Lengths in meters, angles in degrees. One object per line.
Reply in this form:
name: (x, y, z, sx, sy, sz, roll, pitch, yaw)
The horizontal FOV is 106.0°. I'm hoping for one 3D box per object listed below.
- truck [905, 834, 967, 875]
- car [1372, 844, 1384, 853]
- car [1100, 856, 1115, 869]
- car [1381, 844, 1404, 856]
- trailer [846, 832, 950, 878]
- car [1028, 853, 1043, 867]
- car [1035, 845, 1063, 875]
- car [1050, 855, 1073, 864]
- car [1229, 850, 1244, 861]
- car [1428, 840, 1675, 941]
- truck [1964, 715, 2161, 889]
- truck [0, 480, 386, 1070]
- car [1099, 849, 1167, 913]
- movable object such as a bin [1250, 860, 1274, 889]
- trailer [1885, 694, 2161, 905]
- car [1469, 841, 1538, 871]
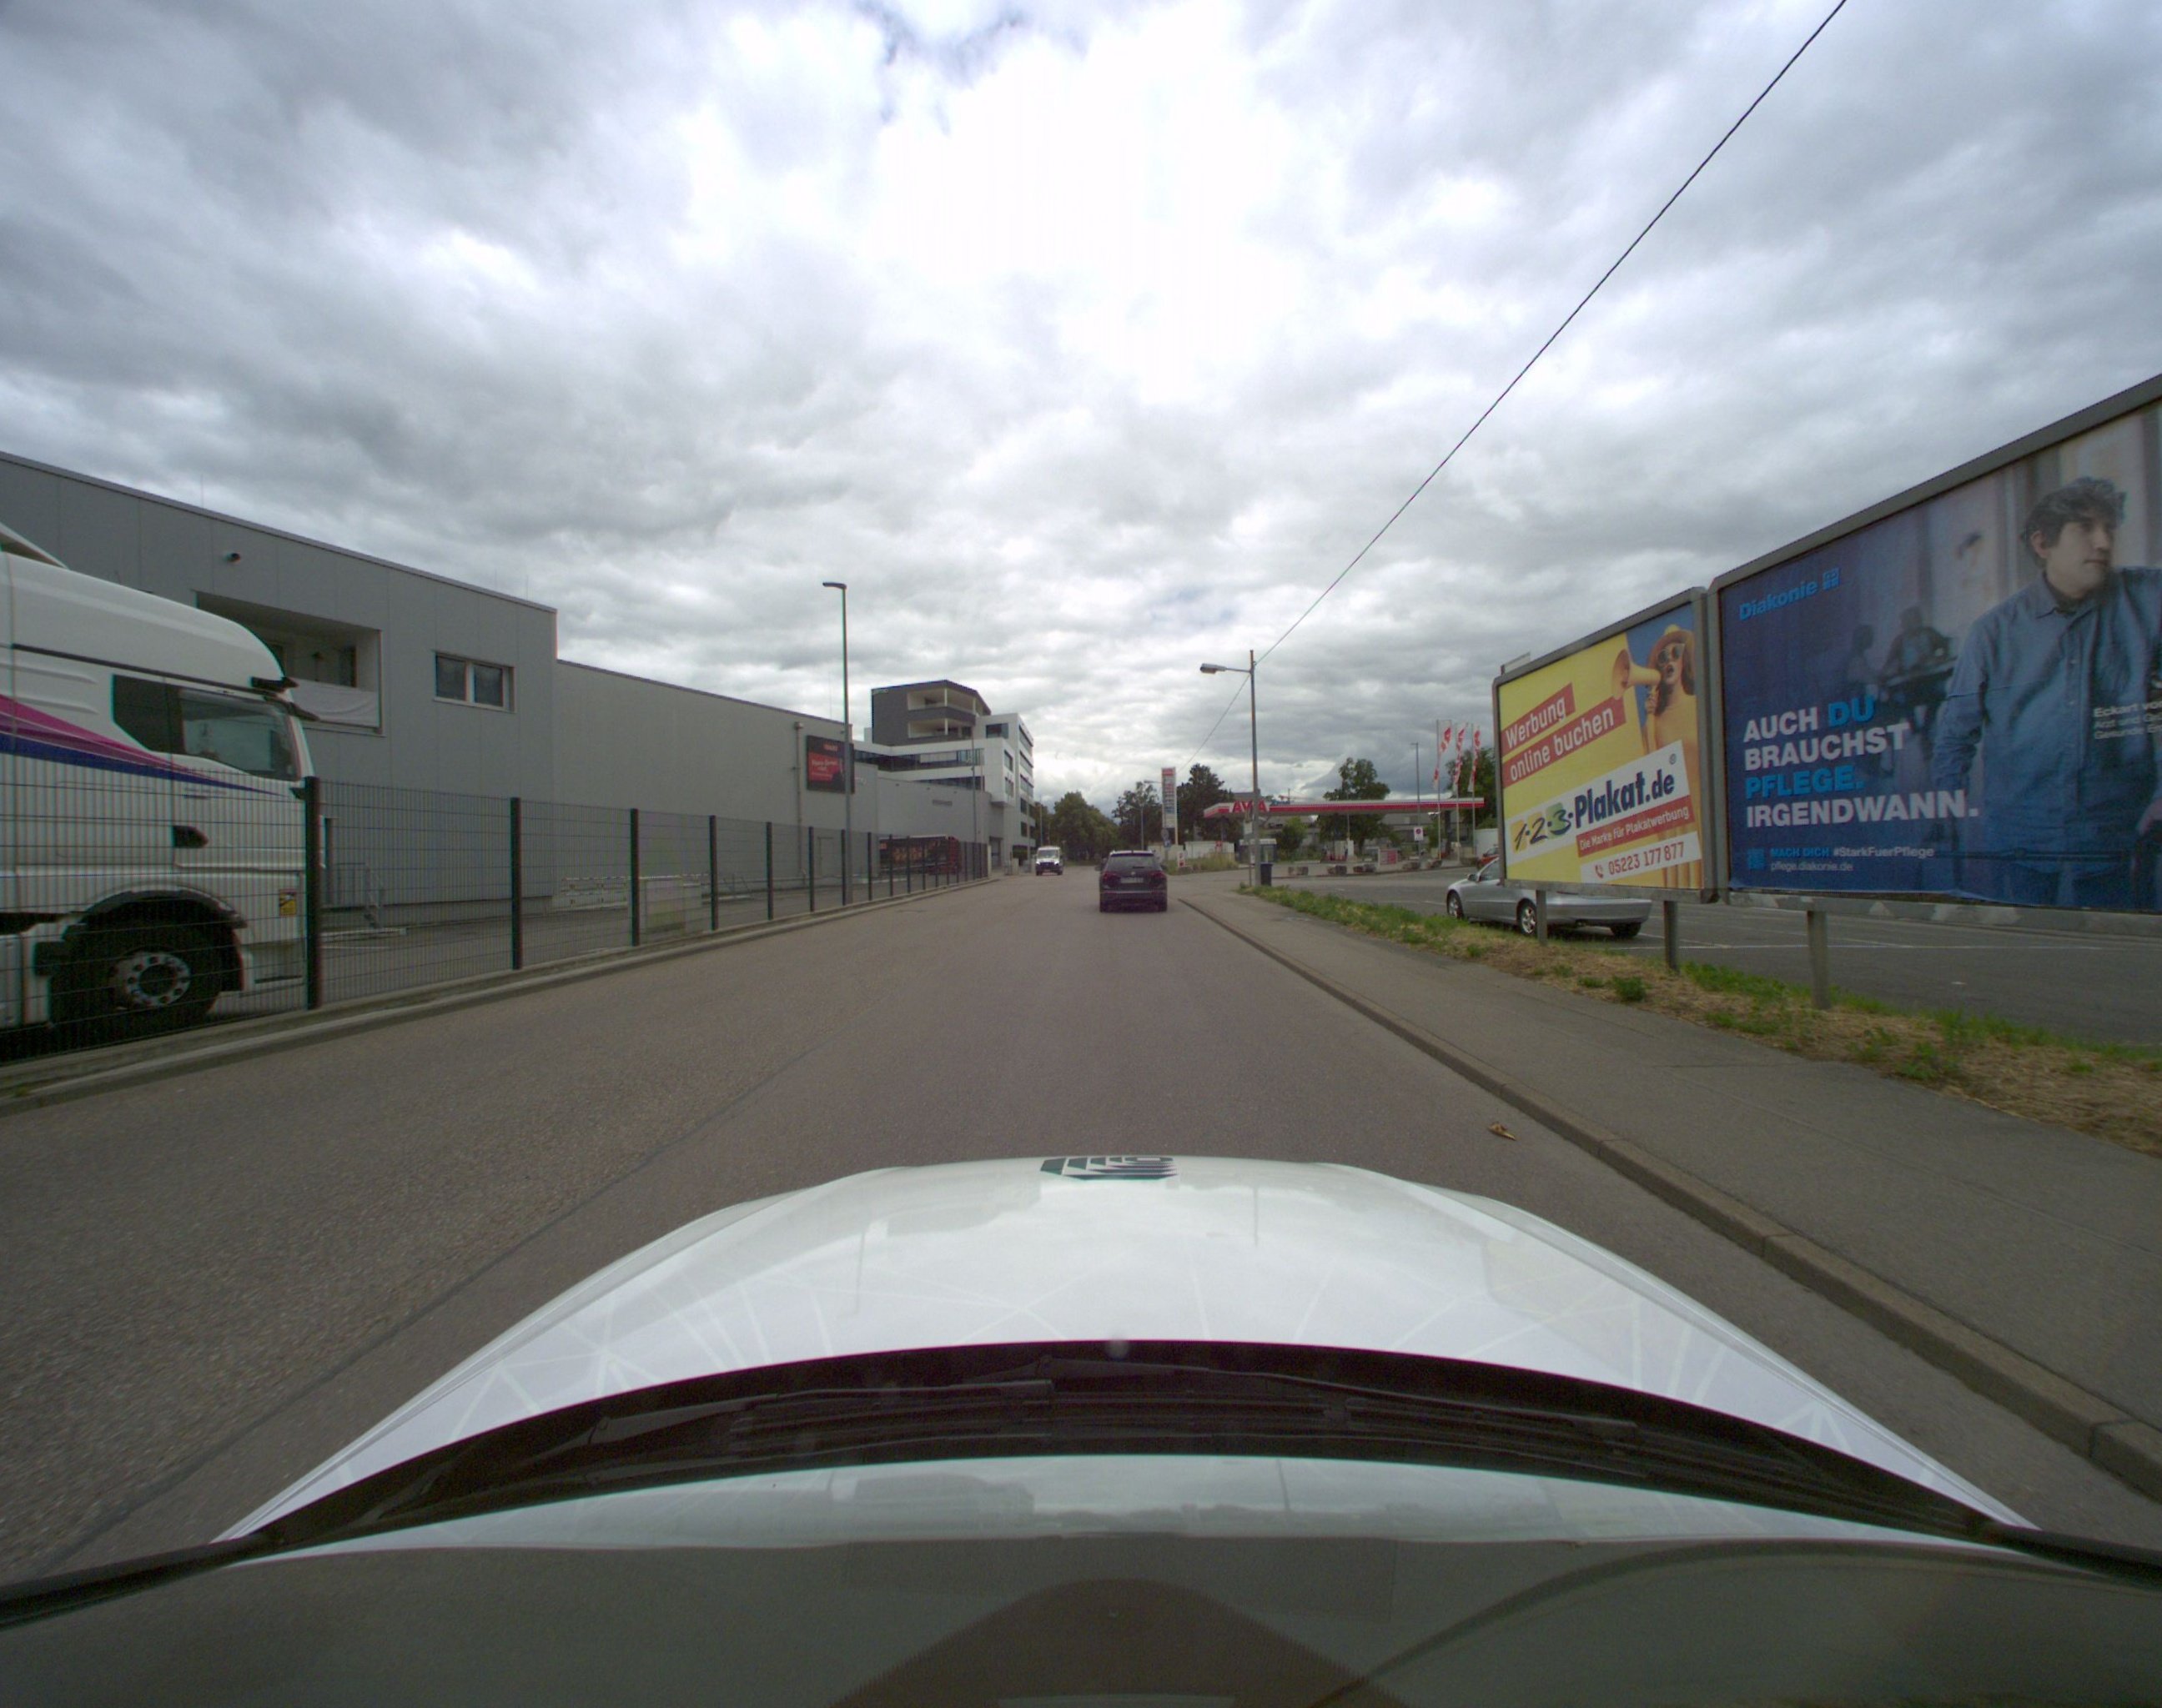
truck: (-14.657, 0.023, 82.717, 2.718, 4.031, 7.131, -1, 0, 22)
car: (49.778, -0.939, 136.394, 1.888, 1.521, 4.085, -2, 0, 21)
car: (3.417, 1.069, 104.112, 1.832, 1.616, 4.002, -1, 0, 2)
car: (42.742, -0.589, 111.905, 1.725, 1.530, 3.886, -2, 0, 2)
trailer: (-16.967, 0.054, 77.063, 2.718, 4.031, 12.685, -1, 0, 22)
car: (-6.011, 0.760, 107.543, 1.643, 1.762, 3.181, 0, 0, 3)
car: (-2.604, 0.489, 67.678, 1.986, 2.416, 5.258, 0, 0, 1)
car: (-5.553, 1.553, 232.966, 6.043, 2.387, 2.397, -2, 0, 4)
car: (26.426, 0.233, 138.141, 1.978, 1.612, 4.462, -2, 0, 17)
car: (7.984, 0.551, 14.422, 1.767, 1.464, 4.560, -1, 0, 1)
truck: (26.003, -1.265, 16.084, 3.063, 3.967, 13.074, -3, 0, 2)
truck: (-9.240, -0.487, 5.775, 3.343, 4.160, 5.635, -3, 0, 5)
car: (1.446, 0.717, 22.666, 1.731, 1.618, 3.644, 0, -1, 4)
movable object such as a bin: (7.022, 0.804, 31.619, 0.713, 1.081, 0.661, -1, 0, -5)
trailer: (21.853, -1.093, 15.654, 2.944, 3.967, 10.417, -3, 0, 4)
car: (23.674, 0.132, 45.852, 1.758, 1.571, 4.216, -1, 0, 1)
